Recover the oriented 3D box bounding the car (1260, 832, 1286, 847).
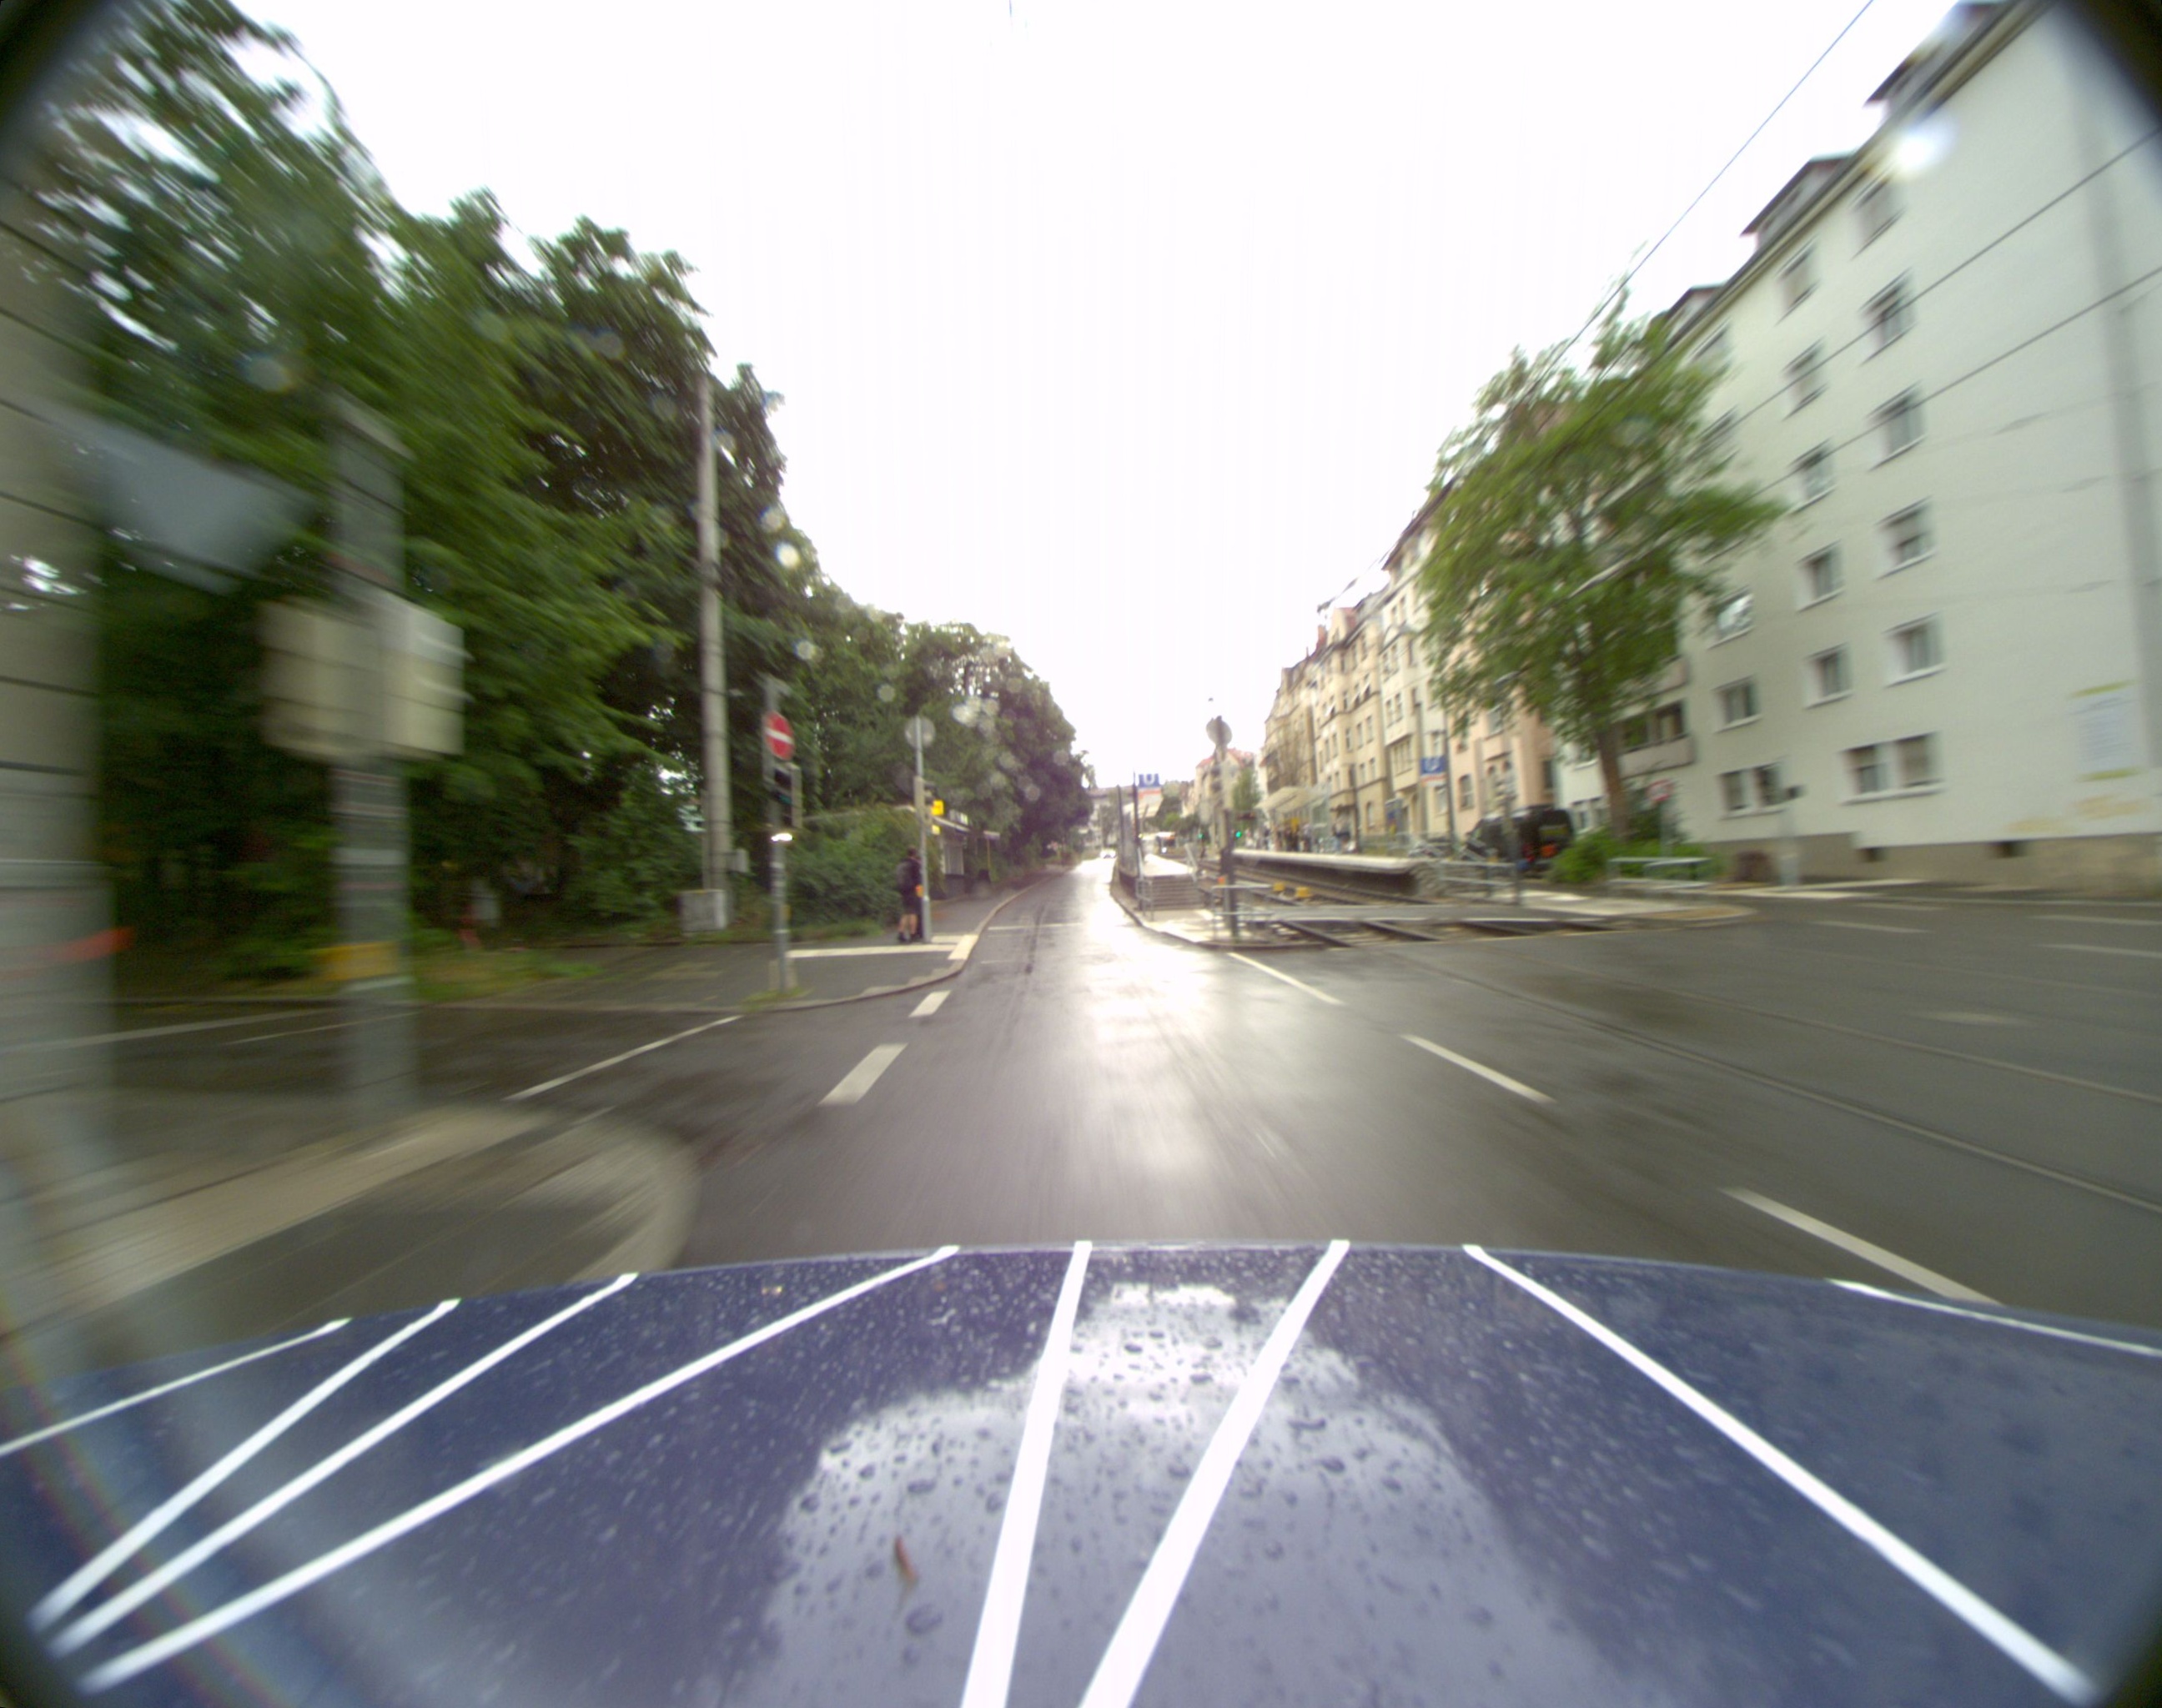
[{"bbox_3d":[20.817,-1.589,82.533,1.721,1.434,4.868,-3,1,3],"label":"car"}]

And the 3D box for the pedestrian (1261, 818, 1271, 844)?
[{"bbox_3d":[13.435,-1.653,55.166,0.517,1.828,0.762,-1,2,3],"label":"pedestrian"}]

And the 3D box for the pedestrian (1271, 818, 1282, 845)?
[{"bbox_3d":[13.282,-1.551,51.630,0.517,1.828,0.762,-1,2,3],"label":"pedestrian"}]

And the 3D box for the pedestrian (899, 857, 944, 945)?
[{"bbox_3d":[-3.191,0.924,15.247,0.697,1.685,0.555,-3,2,1],"label":"pedestrian"}]

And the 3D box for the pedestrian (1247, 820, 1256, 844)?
[{"bbox_3d":[13.478,-1.757,60.046,0.562,1.840,0.598,-1,2,3],"label":"pedestrian"}]

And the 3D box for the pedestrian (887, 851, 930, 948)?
[{"bbox_3d":[-3.310,0.857,14.632,0.555,1.803,0.650,-3,2,1],"label":"pedestrian"}]

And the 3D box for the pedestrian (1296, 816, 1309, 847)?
[{"bbox_3d":[12.331,-1.249,42.235,0.551,1.657,0.614,-1,2,3],"label":"pedestrian"}]

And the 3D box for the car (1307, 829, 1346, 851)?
[{"bbox_3d":[19.574,-1.138,60.709,1.927,1.613,4.536,-2,1,5],"label":"car"}]

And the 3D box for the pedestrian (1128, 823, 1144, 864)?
[{"bbox_3d":[2.468,-0.487,34.206,0.591,1.797,0.660,-4,2,2],"label":"pedestrian"}]

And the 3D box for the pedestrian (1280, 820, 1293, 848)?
[{"bbox_3d":[12.352,-1.191,45.720,0.595,1.657,0.762,-1,2,3],"label":"pedestrian"}]

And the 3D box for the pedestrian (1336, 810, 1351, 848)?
[{"bbox_3d":[12.051,-1.144,34.865,0.483,1.731,0.563,-1,2,3],"label":"pedestrian"}]

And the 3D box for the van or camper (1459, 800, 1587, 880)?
[{"bbox_3d":[17.100,-0.530,29.728,1.999,2.789,4.862,-2,1,-2],"label":"van or camper"}]

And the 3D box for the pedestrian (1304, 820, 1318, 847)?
[{"bbox_3d":[12.147,-1.083,40.191,0.551,1.405,0.614,-1,2,3],"label":"pedestrian"}]

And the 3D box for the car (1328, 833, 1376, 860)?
[{"bbox_3d":[18.554,-0.559,52.266,1.998,1.722,4.814,-2,2,6],"label":"car"}]

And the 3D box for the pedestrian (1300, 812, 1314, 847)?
[{"bbox_3d":[11.592,-1.249,38.960,0.551,1.731,0.614,-1,2,3],"label":"pedestrian"}]

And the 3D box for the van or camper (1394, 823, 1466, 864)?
[{"bbox_3d":[18.044,-0.543,39.506,1.998,2.002,4.000,-2,1,3],"label":"van or camper"}]

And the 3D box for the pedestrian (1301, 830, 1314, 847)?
[{"bbox_3d":[12.235,-0.841,41.096,0.551,0.867,0.614,-1,2,3],"label":"pedestrian"}]

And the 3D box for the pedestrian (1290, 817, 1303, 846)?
[{"bbox_3d":[12.286,-1.279,43.366,0.595,1.657,0.591,-1,2,3],"label":"pedestrian"}]

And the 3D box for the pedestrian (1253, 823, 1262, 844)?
[{"bbox_3d":[13.810,-1.627,59.455,0.517,1.596,0.563,-1,2,3],"label":"pedestrian"}]

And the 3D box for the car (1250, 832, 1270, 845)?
[{"bbox_3d":[21.639,-1.873,92.016,1.634,1.538,4.175,-3,1,4],"label":"car"}]

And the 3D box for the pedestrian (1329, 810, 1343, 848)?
[{"bbox_3d":[11.900,-1.158,35.463,0.483,1.731,0.563,-1,2,3],"label":"pedestrian"}]
